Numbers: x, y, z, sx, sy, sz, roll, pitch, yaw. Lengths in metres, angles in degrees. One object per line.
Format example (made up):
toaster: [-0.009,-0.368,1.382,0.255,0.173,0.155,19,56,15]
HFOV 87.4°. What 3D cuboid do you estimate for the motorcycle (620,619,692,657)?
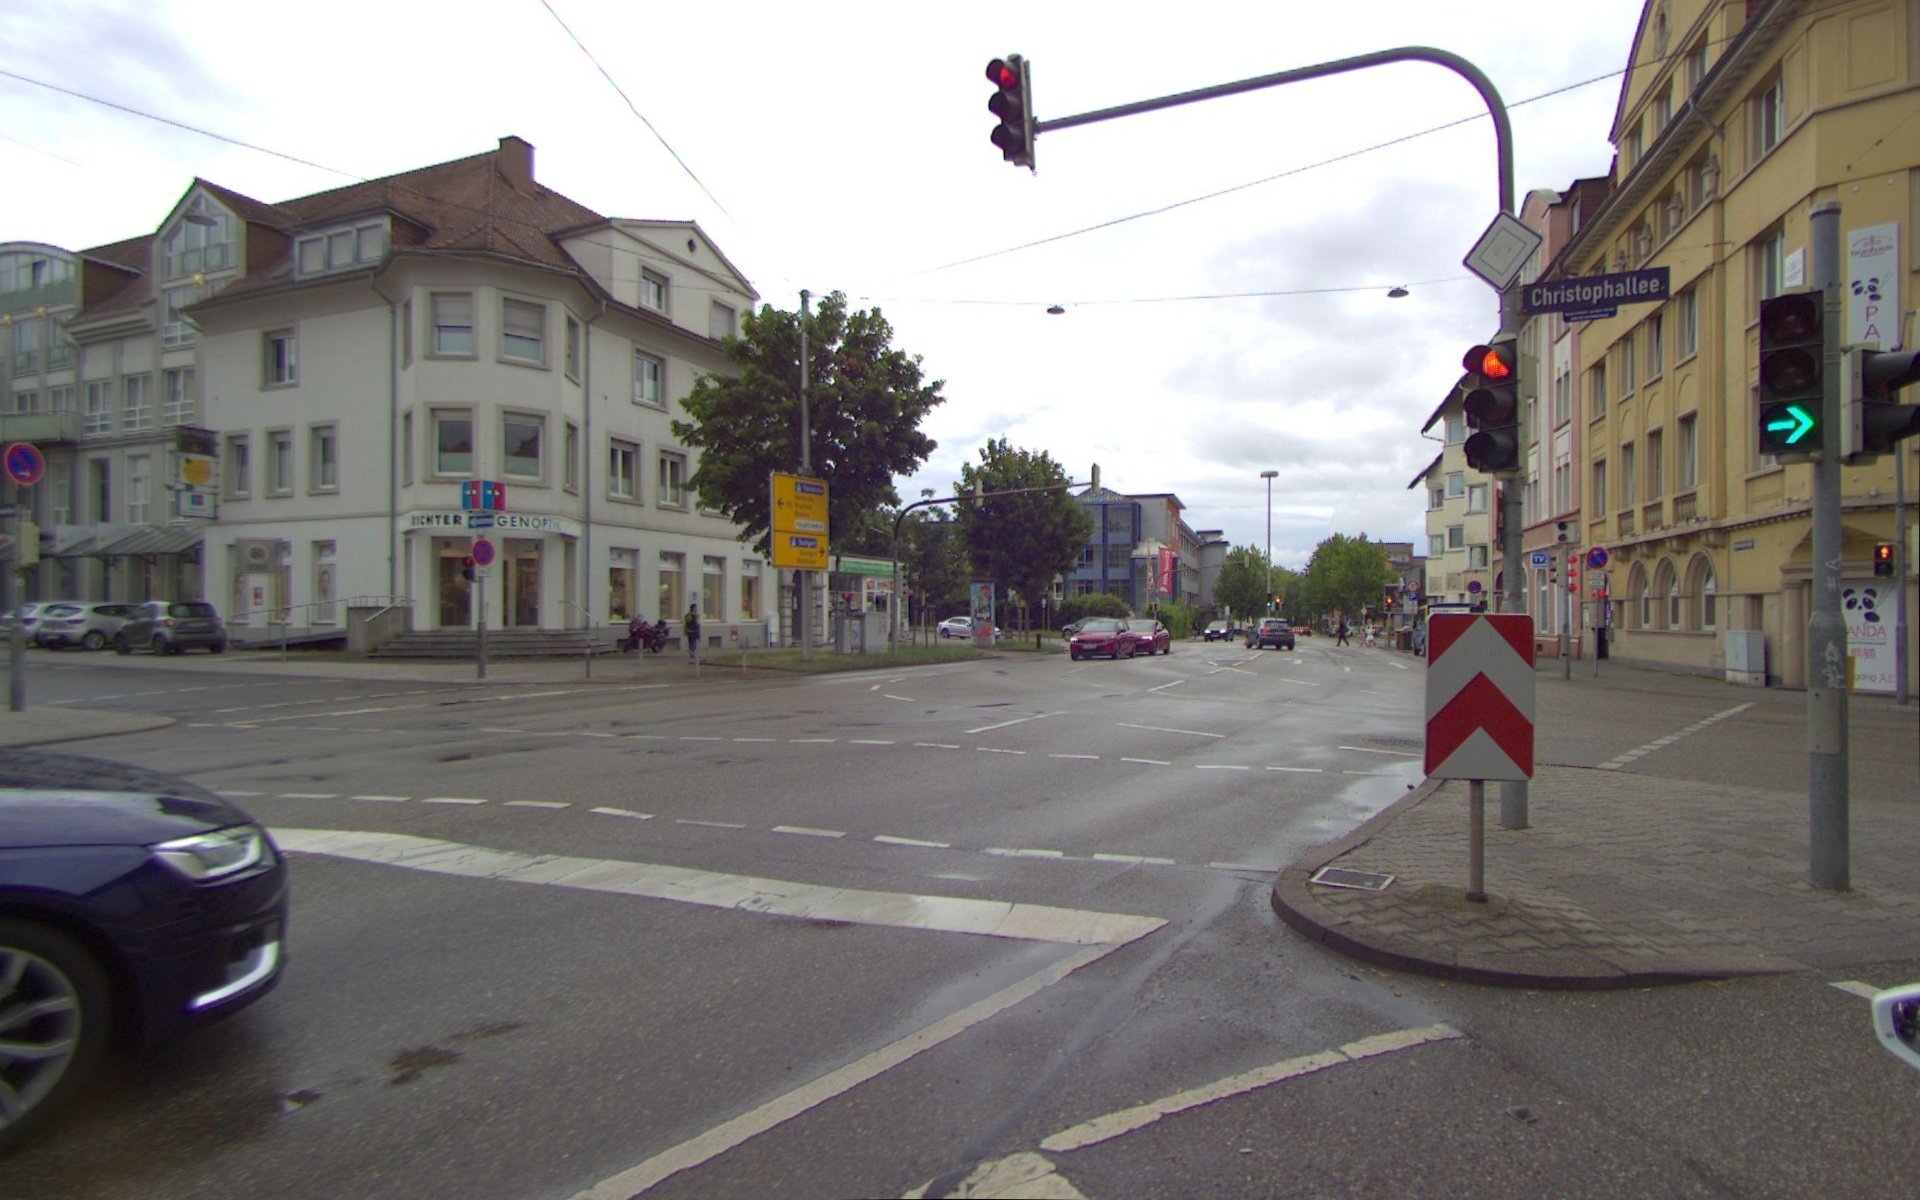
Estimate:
motorcycle: [-10.120,1.249,33.548,0.708,1.194,2.586,0,-1,27]

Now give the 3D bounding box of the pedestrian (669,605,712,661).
pedestrian: [-8.515,1.022,31.752,0.946,1.731,0.935,0,0,17]

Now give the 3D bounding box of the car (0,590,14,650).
car: [-34.860,0.674,34.520,3.923,2.040,1.999,0,-1,22]

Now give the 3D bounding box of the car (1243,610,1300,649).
car: [15.348,1.422,49.661,1.959,1.840,4.002,0,-1,6]

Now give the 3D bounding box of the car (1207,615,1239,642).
car: [20.745,2.209,79.221,1.961,2.040,3.999,0,-1,22]

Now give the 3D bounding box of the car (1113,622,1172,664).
car: [7.545,1.727,41.295,1.735,1.656,3.624,0,-1,21]

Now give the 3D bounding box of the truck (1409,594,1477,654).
truck: [20.646,0.978,43.112,1.992,2.421,4.238,1,0,17]

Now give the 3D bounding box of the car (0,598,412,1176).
car: [-3.913,0.665,1.961,1.781,1.424,4.664,1,-1,39]

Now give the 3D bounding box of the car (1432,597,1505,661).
car: [18.968,1.039,37.624,1.732,2.209,4.001,1,0,17]

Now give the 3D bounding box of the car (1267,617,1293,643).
car: [26.153,2.405,82.095,1.960,2.040,4.001,0,-1,18]

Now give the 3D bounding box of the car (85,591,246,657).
car: [-23.303,0.695,29.489,3.922,1.839,2.000,0,-1,21]

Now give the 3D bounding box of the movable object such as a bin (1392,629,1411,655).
movable object such as a bin: [23.255,2.212,52.922,0.735,1.247,0.984,5,1,18]

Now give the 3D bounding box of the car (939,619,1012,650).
car: [0.967,2.179,64.275,4.479,1.818,1.991,0,0,39]

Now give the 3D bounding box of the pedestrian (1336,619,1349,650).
pedestrian: [24.367,2.179,63.946,0.710,1.963,0.793,0,-1,16]

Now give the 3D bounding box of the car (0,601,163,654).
car: [-28.951,0.885,32.989,1.838,1.612,4.000,0,-1,20]

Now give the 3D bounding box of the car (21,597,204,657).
car: [-26.854,0.838,32.005,1.960,1.753,4.000,0,-1,19]

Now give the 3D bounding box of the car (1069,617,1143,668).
car: [5.355,1.500,36.479,1.814,1.706,4.000,1,-1,21]

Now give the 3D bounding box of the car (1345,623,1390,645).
car: [43.156,3.621,106.477,3.919,2.040,2.001,3,1,7]

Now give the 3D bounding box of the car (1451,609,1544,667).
car: [16.606,1.125,31.248,1.847,1.658,4.001,1,-1,18]

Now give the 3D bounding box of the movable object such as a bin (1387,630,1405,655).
movable object such as a bin: [23.578,2.281,54.321,0.735,1.247,0.984,5,1,18]
